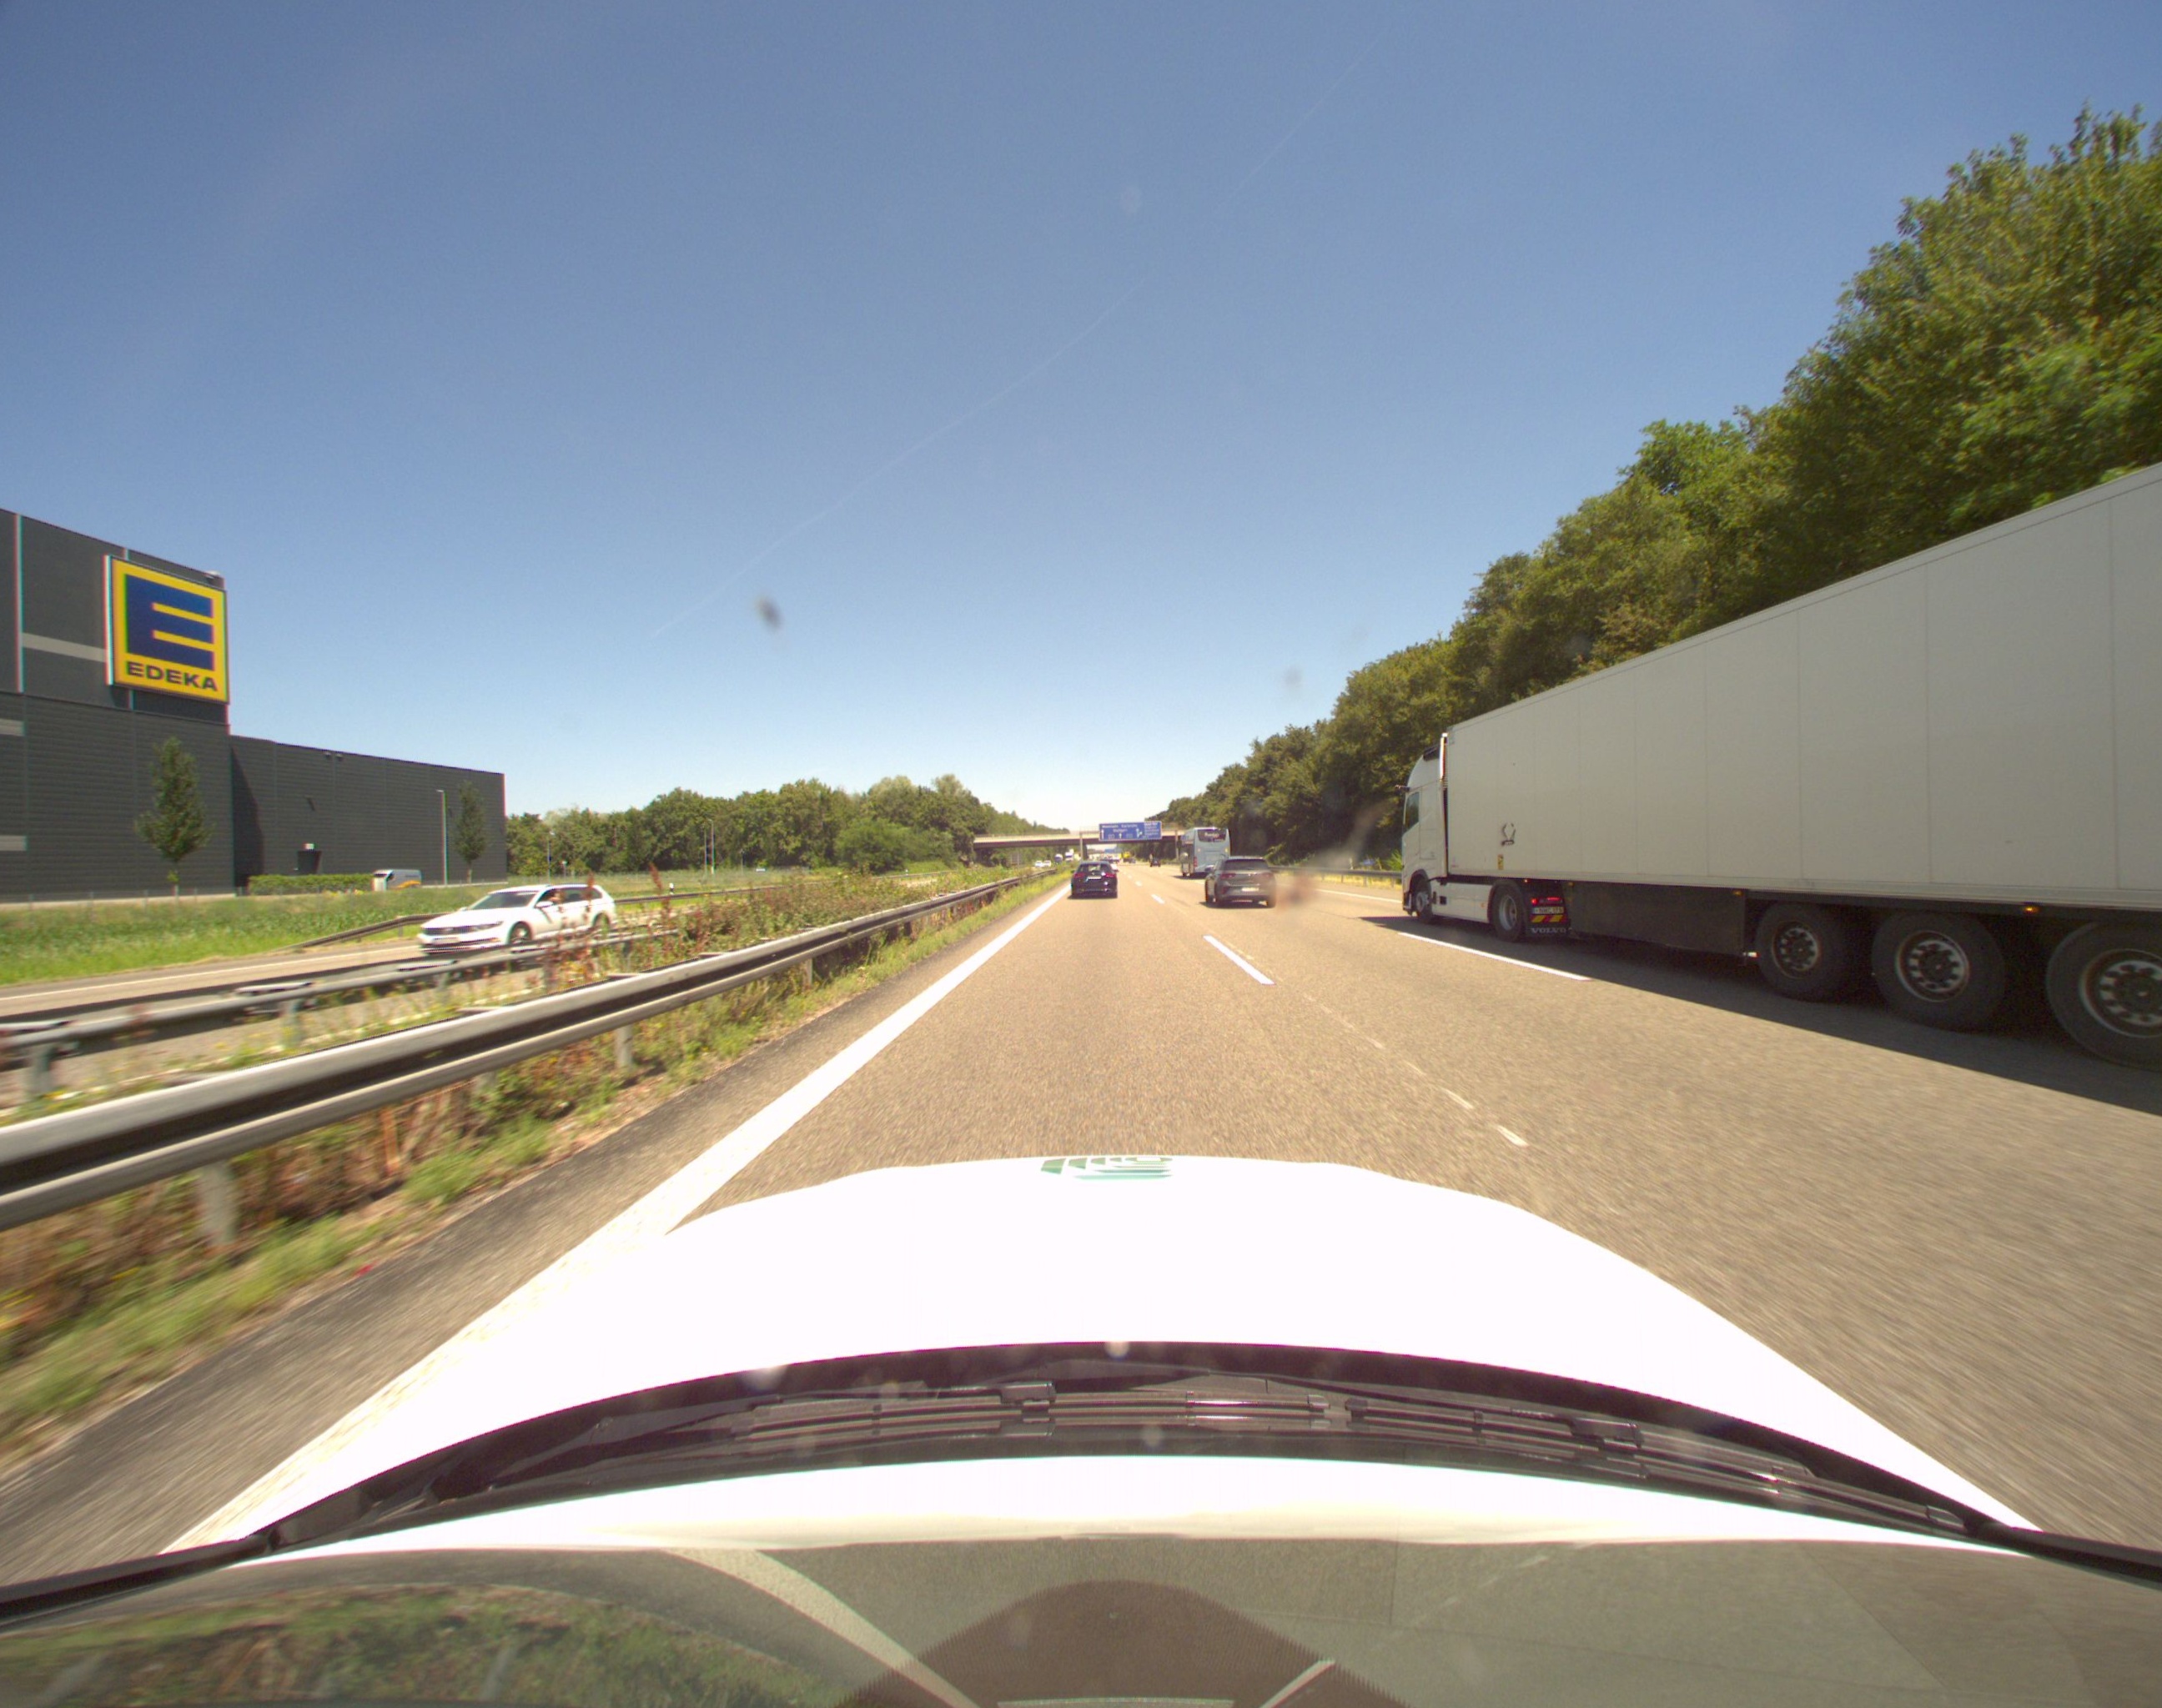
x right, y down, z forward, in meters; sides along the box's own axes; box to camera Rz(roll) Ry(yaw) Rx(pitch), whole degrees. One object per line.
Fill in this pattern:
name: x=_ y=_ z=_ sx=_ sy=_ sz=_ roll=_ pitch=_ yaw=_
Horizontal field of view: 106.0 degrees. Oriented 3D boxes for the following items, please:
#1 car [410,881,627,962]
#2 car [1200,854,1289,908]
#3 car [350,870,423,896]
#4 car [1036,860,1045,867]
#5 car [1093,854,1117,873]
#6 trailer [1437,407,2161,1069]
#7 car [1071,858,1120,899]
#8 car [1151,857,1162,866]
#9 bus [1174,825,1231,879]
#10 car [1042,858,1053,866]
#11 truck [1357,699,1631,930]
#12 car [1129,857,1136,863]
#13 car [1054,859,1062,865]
car: x=-12.662 y=1.438 z=18.780 sx=1.628 sy=1.427 sz=4.661 roll=-3 pitch=0 yaw=1
car: x=5.021 y=0.781 z=25.645 sx=1.893 sy=1.532 sz=4.760 roll=-1 pitch=0 yaw=1
car: x=-75.327 y=3.106 z=88.503 sx=2.388 sy=2.456 sz=6.176 roll=-2 pitch=0 yaw=2
car: x=-10.351 y=2.493 z=208.029 sx=1.893 sy=1.594 sz=4.743 roll=-2 pitch=0 yaw=1
car: x=2.019 y=0.772 z=69.381 sx=1.893 sy=1.532 sz=4.242 roll=-1 pitch=0 yaw=1
trailer: x=8.483 y=-0.744 z=9.190 sx=3.029 sy=4.224 sz=13.837 roll=-1 pitch=0 yaw=1
car: x=0.580 y=0.911 z=32.238 sx=1.793 sy=1.502 sz=4.242 roll=-1 pitch=0 yaw=1
car: x=12.837 y=1.265 z=138.628 sx=1.782 sy=1.461 sz=3.952 roll=-1 pitch=0 yaw=3
bus: x=8.945 y=-0.086 z=61.226 sx=2.791 sy=3.596 sz=12.479 roll=-1 pitch=0 yaw=2
car: x=-6.999 y=1.644 z=170.270 sx=1.801 sy=1.483 sz=4.418 roll=-4 pitch=0 yaw=2
truck: x=8.613 y=-0.732 z=18.007 sx=3.037 sy=4.215 sz=6.049 roll=-1 pitch=0 yaw=1
car: x=14.945 y=1.792 z=237.690 sx=2.072 sy=1.532 sz=4.244 roll=-1 pitch=0 yaw=3
car: x=-6.148 y=2.151 z=221.701 sx=1.893 sy=1.532 sz=5.033 roll=-5 pitch=0 yaw=1
